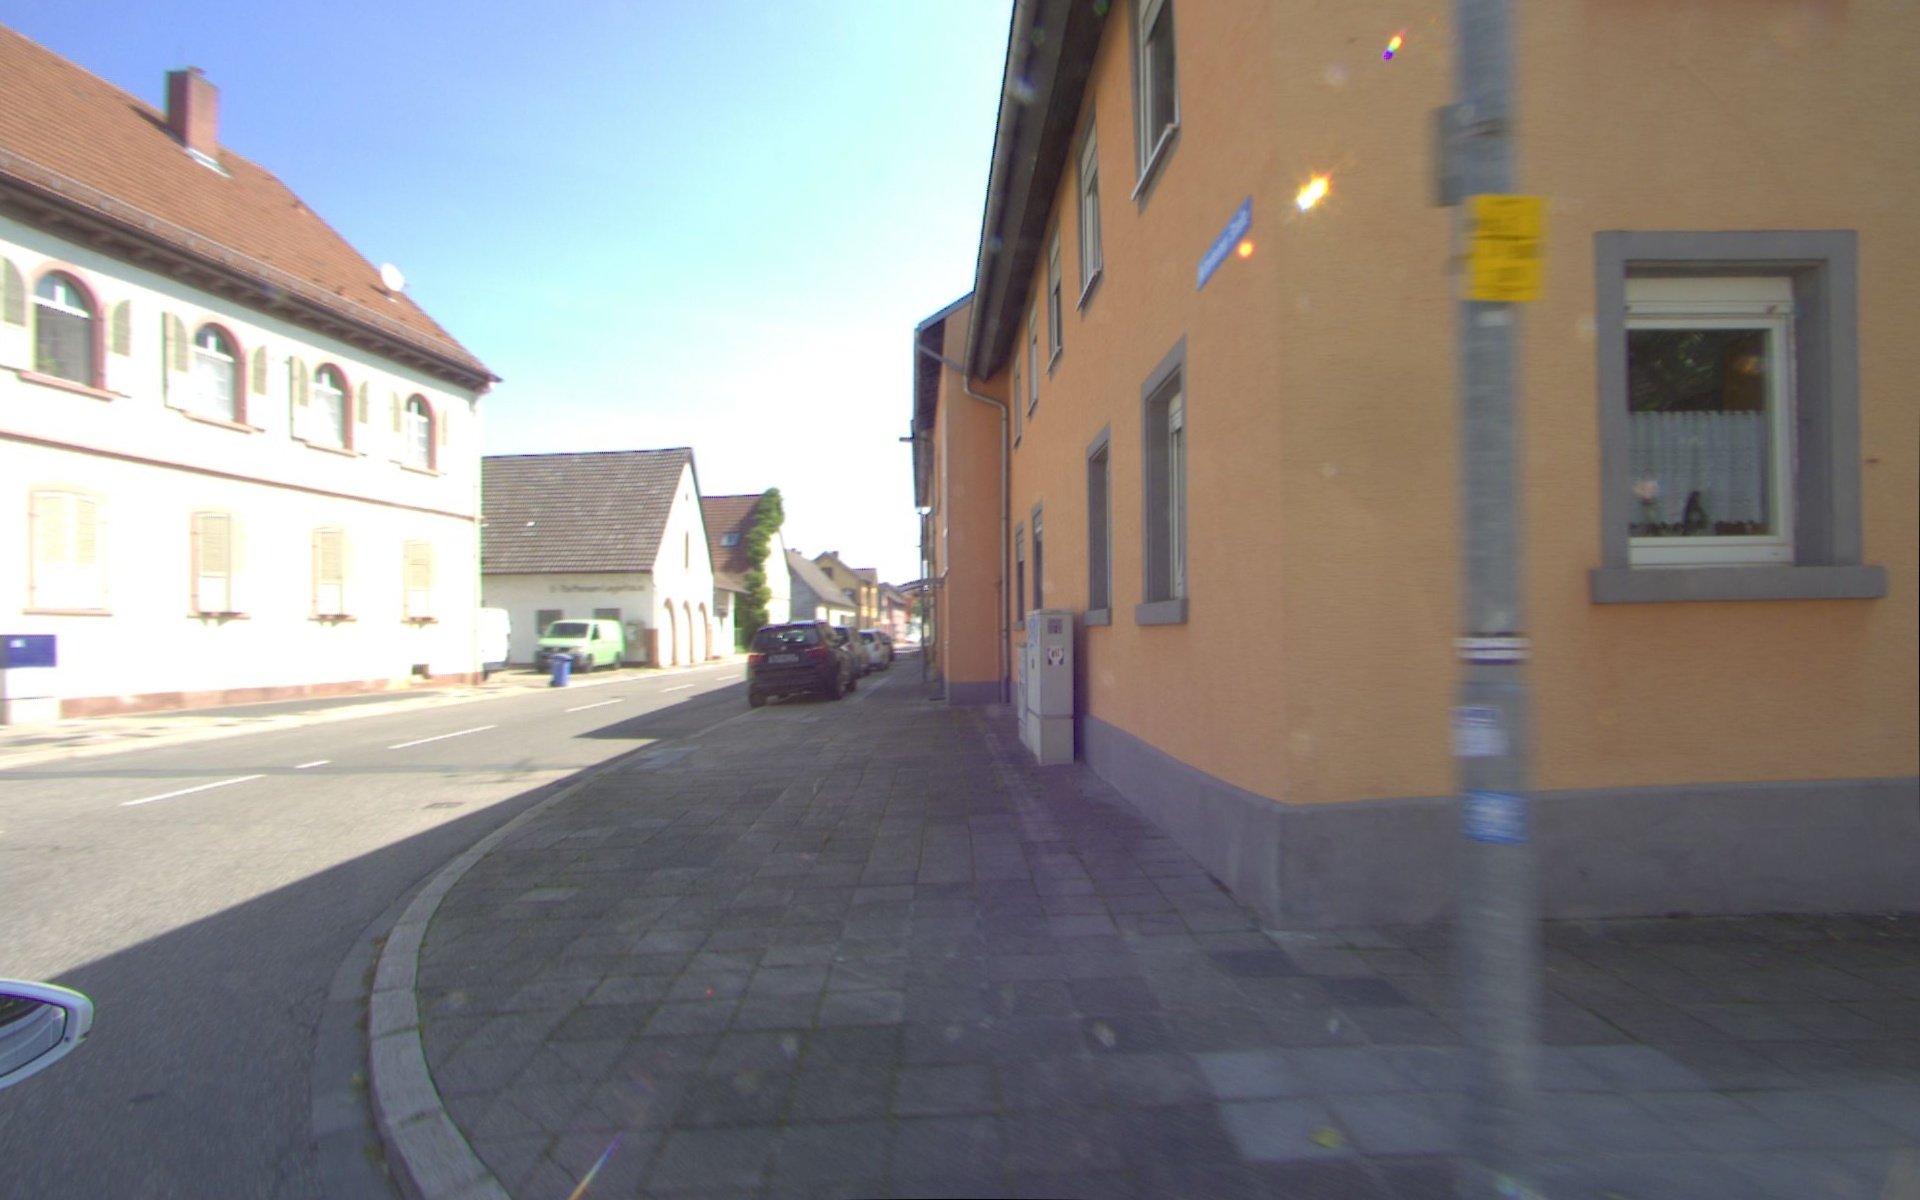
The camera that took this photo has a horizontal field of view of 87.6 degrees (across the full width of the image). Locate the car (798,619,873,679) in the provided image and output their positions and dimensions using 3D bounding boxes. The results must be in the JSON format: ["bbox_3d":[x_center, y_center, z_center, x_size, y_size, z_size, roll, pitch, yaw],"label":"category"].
[{"bbox_3d":[-3.856,1.497,31.621,1.867,1.750,4.250,0,-1,0],"label":"car"}]

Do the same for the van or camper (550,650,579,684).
[{"bbox_3d":[-11.432,1.934,28.965,0.580,0.964,0.600,0,-1,5],"label":"van or camper"}]

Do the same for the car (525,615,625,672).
[{"bbox_3d":[-14.461,1.605,37.932,1.961,1.990,4.671,0,-1,1],"label":"car"}]

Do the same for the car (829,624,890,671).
[{"bbox_3d":[-3.625,1.709,36.800,1.961,1.638,4.001,0,-1,-2],"label":"car"}]

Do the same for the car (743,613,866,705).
[{"bbox_3d":[-3.282,1.215,22.111,1.814,1.724,5.182,-3,-1,0],"label":"car"}]

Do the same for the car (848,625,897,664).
[{"bbox_3d":[-3.817,1.941,44.255,1.961,1.638,4.001,0,-1,-2],"label":"car"}]

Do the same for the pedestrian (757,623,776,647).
[{"bbox_3d":[-13.015,2.361,67.406,1.117,1.572,1.017,0,-1,-2],"label":"pedestrian"}]

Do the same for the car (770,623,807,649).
[{"bbox_3d":[-11.420,2.411,66.962,1.825,1.668,4.431,0,-1,-1],"label":"car"}]

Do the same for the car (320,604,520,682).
[{"bbox_3d":[-16.218,1.265,30.172,5.094,2.225,2.122,0,-1,10],"label":"car"}]
